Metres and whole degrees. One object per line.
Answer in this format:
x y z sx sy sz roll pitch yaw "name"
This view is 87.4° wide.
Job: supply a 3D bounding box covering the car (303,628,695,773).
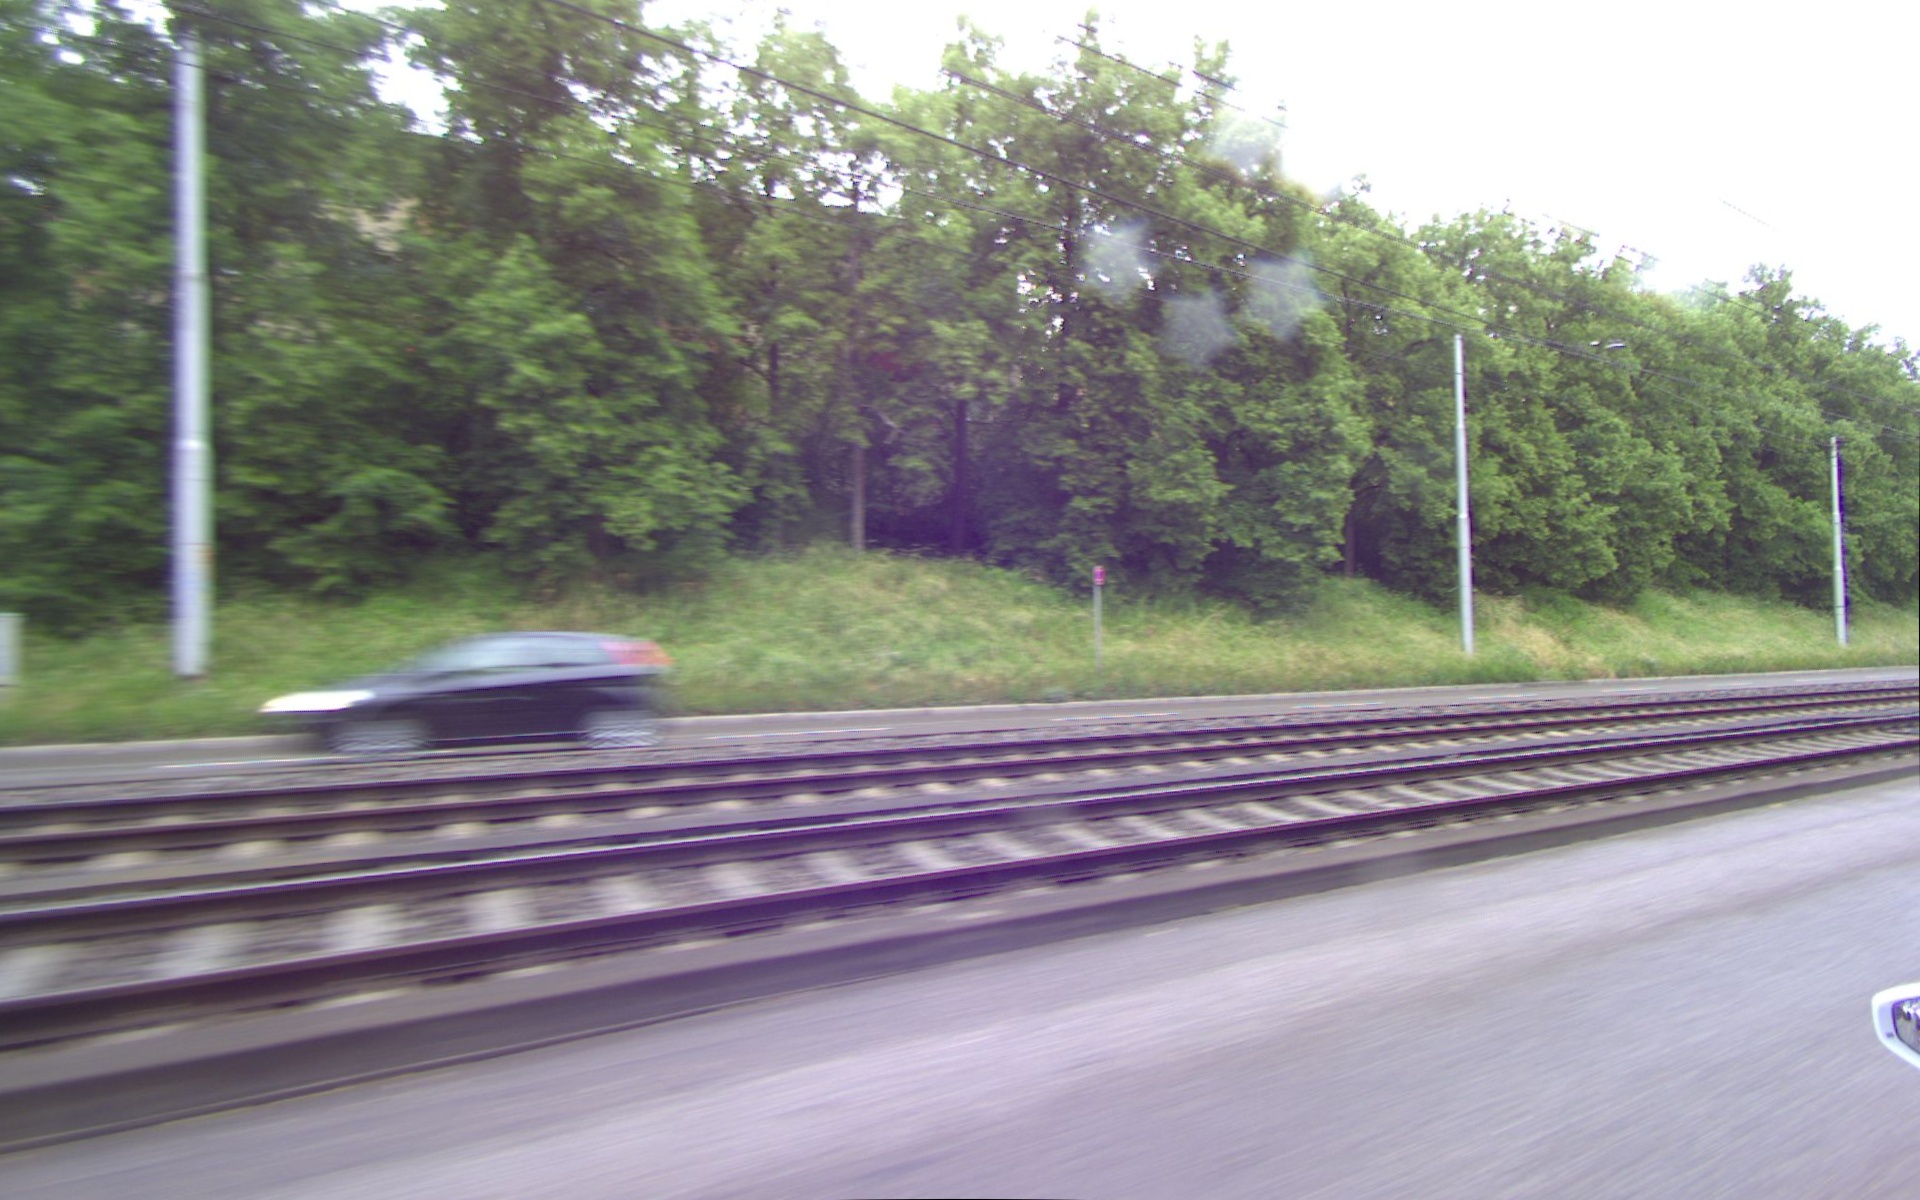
-5.332 1.102 11.874 3.981 1.462 1.662 1 -4 -32 "car"
